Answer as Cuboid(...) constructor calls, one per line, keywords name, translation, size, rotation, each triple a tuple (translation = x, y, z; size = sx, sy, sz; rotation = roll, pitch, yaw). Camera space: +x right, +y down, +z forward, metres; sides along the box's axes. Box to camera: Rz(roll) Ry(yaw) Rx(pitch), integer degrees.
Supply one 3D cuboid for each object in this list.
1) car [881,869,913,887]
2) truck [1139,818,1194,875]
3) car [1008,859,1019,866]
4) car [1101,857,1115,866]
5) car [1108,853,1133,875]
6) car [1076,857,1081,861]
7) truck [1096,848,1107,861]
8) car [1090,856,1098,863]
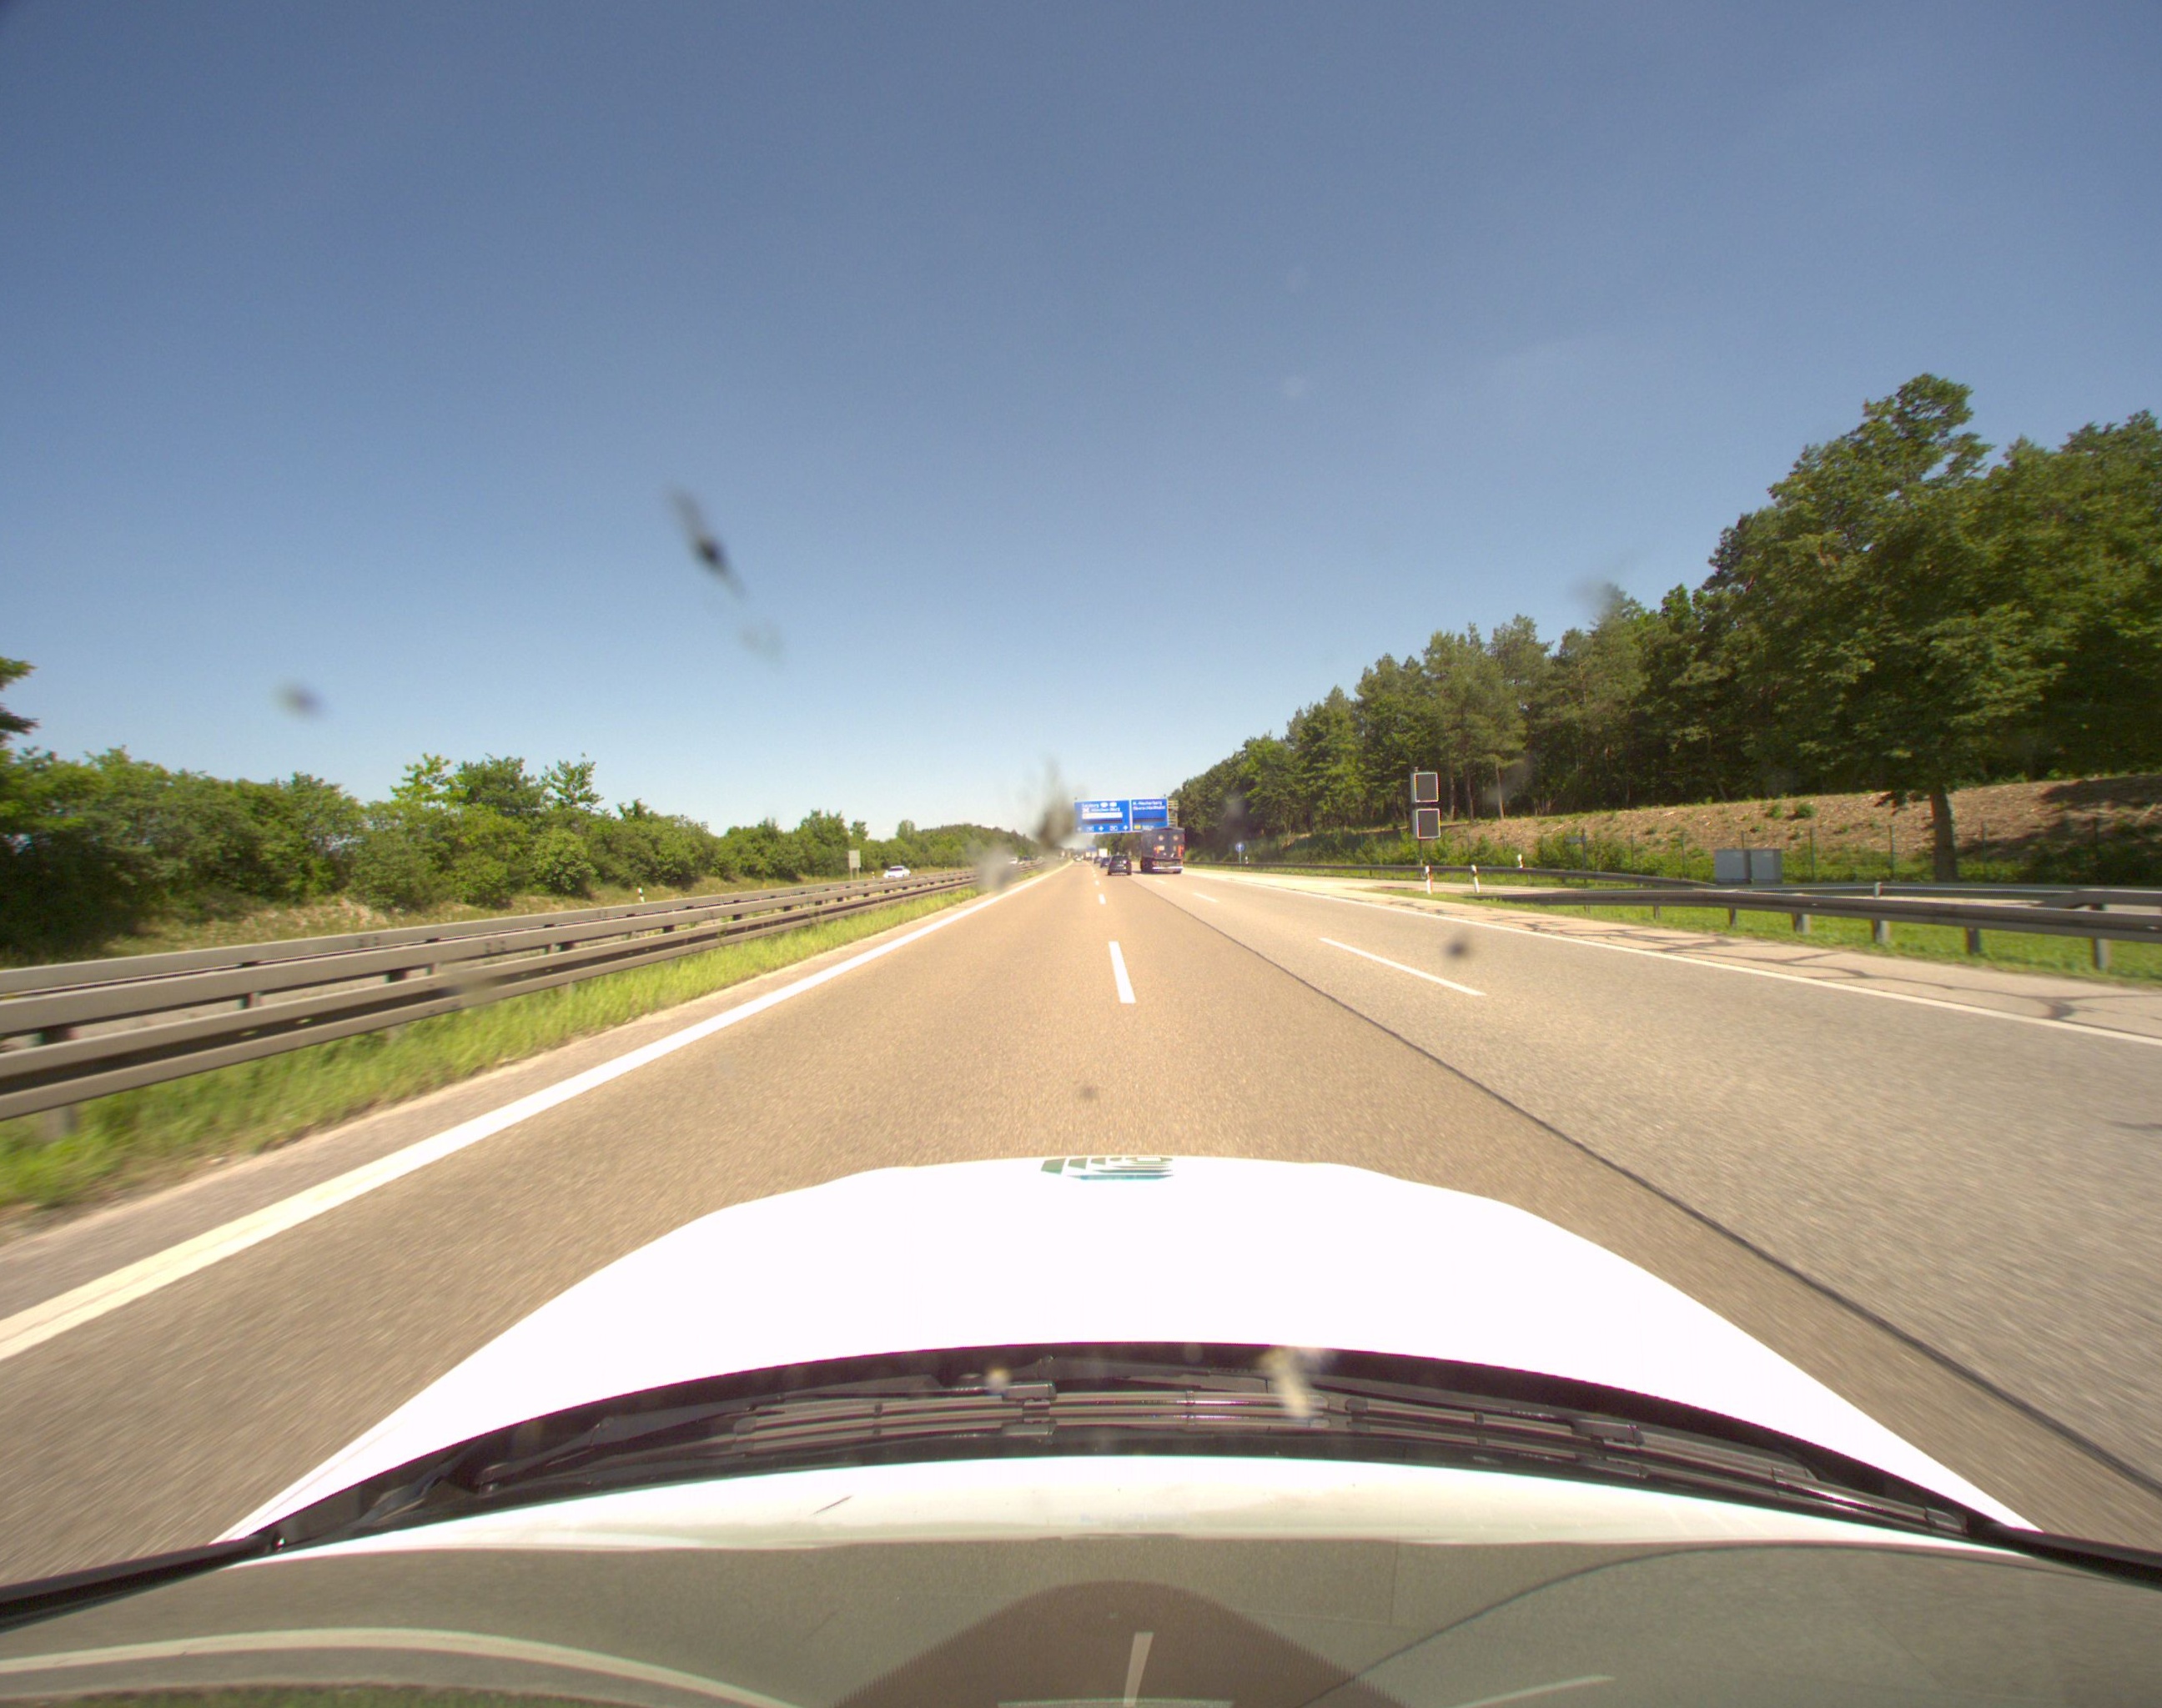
Cuboid(name="car", translation=(-17.854, 2.338, 79.038), size=(1.986, 1.593, 4.302), rotation=(-2, 0, 1))
Cuboid(name="truck", translation=(7.275, -0.595, 71.327), size=(3.766, 4.422, 14.057), rotation=(-1, 0, 2))
Cuboid(name="car", translation=(-13.629, 1.711, 164.608), size=(1.598, 1.299, 3.792), rotation=(-1, 0, 1))
Cuboid(name="car", translation=(3.626, 1.006, 109.093), size=(1.702, 1.155, 3.691), rotation=(-2, 0, 2))
Cuboid(name="car", translation=(3.191, 0.803, 64.930), size=(1.791, 1.669, 4.264), rotation=(0, 0, 5))
Cuboid(name="car", translation=(-0.739, 1.596, 262.770), size=(1.465, 1.227, 3.412), rotation=(-2, 0, 2))
Cuboid(name="truck", translation=(6.568, 0.183, 263.399), size=(3.423, 3.795, 13.356), rotation=(-1, 0, 2))
Cuboid(name="car", translation=(2.706, 1.026, 165.985), size=(1.465, 1.398, 3.412), rotation=(1, 0, 2))
